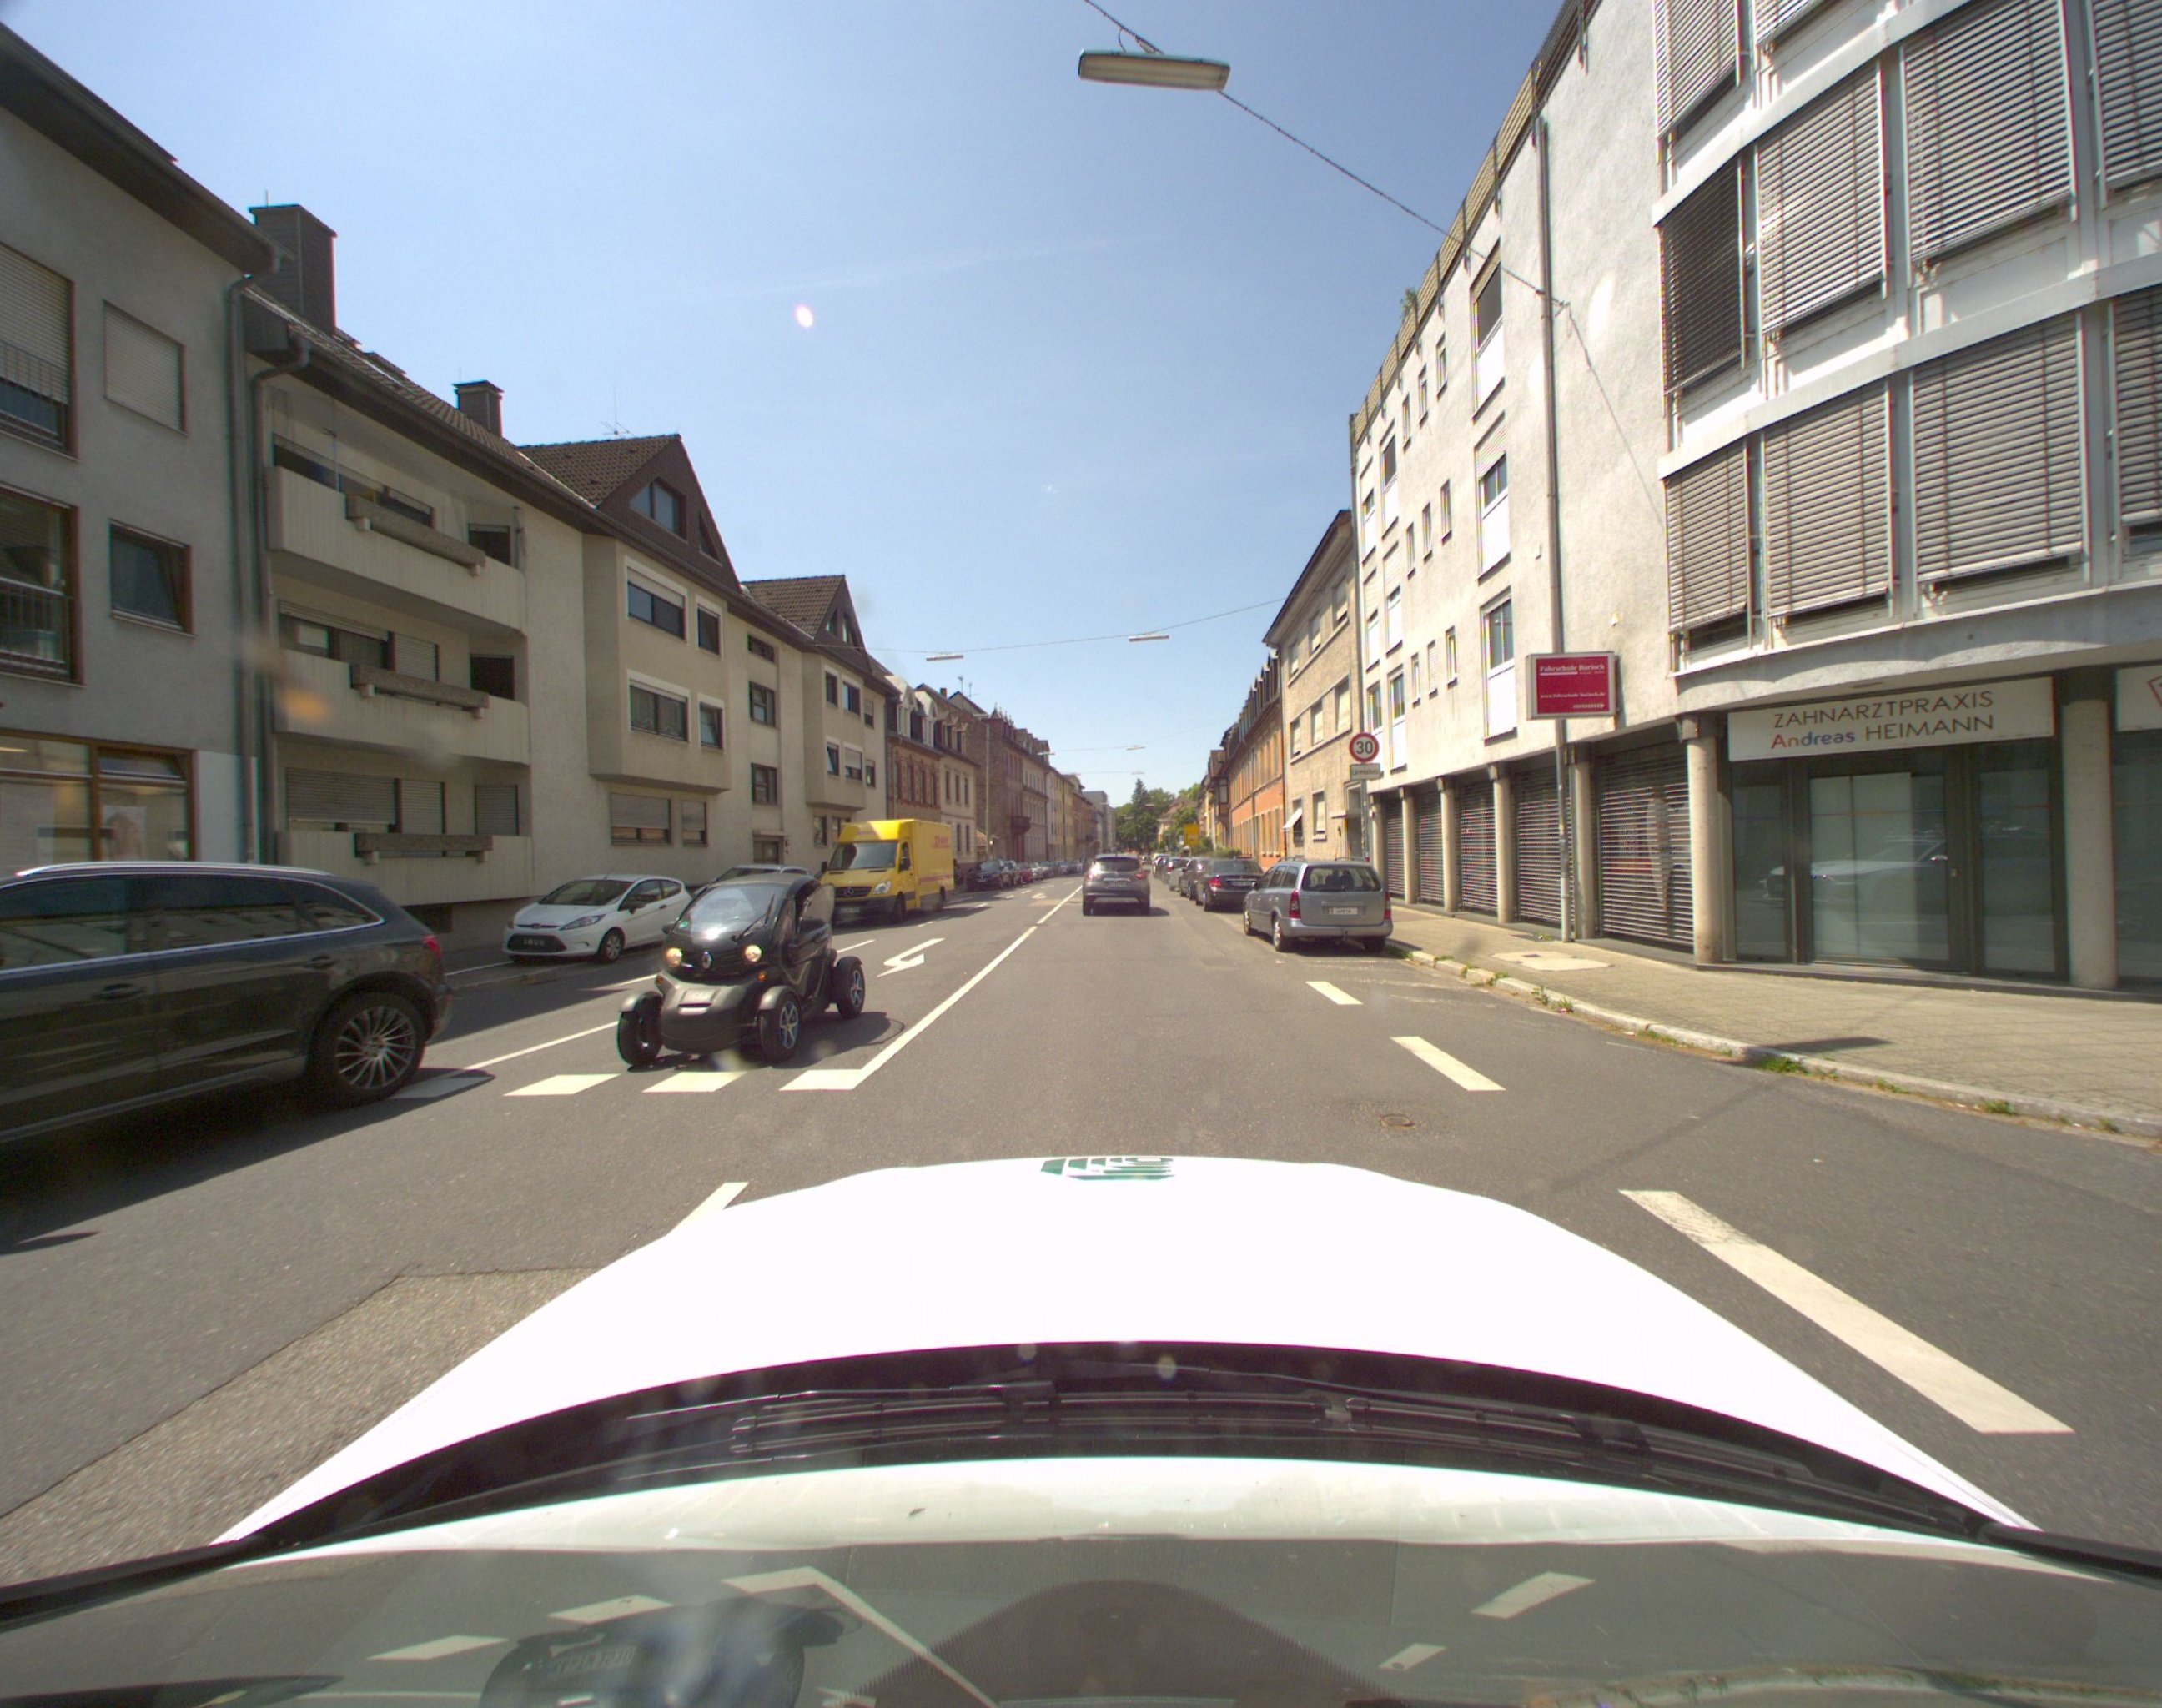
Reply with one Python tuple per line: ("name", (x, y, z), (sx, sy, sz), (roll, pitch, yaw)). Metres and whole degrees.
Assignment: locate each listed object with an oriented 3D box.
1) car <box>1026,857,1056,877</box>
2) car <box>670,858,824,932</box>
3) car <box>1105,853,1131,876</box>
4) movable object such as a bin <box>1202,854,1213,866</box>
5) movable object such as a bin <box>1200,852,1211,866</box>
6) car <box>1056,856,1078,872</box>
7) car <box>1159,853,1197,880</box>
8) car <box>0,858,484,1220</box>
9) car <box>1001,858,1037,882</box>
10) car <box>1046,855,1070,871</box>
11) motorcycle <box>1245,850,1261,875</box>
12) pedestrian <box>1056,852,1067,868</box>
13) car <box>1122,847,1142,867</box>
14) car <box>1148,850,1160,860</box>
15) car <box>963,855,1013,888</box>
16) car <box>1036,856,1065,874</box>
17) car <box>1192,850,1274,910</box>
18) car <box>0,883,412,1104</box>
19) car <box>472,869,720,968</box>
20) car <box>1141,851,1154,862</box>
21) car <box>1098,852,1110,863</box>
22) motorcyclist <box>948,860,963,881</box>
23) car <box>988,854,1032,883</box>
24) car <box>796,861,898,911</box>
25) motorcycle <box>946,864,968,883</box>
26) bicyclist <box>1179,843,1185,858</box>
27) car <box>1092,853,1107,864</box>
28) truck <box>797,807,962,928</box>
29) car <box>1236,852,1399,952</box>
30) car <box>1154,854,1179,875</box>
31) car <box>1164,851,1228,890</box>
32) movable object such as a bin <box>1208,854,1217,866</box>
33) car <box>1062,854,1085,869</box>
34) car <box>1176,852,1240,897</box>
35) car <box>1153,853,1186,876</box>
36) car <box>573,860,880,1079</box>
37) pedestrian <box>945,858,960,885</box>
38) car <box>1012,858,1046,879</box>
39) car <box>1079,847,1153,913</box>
("car", (-3.260, 1.042, 67.207), (1.832, 1.422, 4.506), (-6, -1, 3))
("car", (-8.092, 0.920, 20.234), (1.832, 1.596, 4.389), (1, 0, 2))
("car", (2.848, 0.751, 62.695), (1.804, 1.620, 4.446), (-3, 0, 4))
("movable object such as a bin", (10.522, 0.510, 67.661), (0.785, 0.907, 0.539), (-2, 0, 2))
("movable object such as a bin", (10.581, 0.422, 69.337), (0.785, 1.088, 0.554), (-2, 0, 2))
("car", (-1.451, 1.019, 84.202), (1.832, 1.422, 4.650), (-4, -1, 3))
("car", (5.258, 0.674, 44.577), (1.694, 1.380, 4.169), (-1, 0, 2))
("car", (-5.742, 0.879, 4.114), (1.803, 1.620, 4.449), (-3, -1, 6))
("car", (-4.135, 1.041, 55.065), (1.833, 1.422, 4.504), (-4, 0, 1))
("car", (-2.179, 0.871, 78.299), (1.832, 1.422, 4.506), (-4, -1, 3))
("motorcycle", (8.658, 0.401, 41.035), (0.593, 1.225, 1.363), (-2, 0, 4))
("pedestrian", (-2.197, 0.678, 91.840), (1.145, 1.750, 0.971), (-2, 0, 6))
("car", (5.535, 0.327, 87.604), (1.984, 2.013, 4.472), (-2, 0, 5))
("car", (12.037, 0.129, 133.922), (1.754, 1.560, 3.950), (-2, 0, 7))
("car", (-4.990, 0.914, 44.297), (1.831, 1.597, 4.507), (-4, -1, 4))
("car", (-2.720, 0.973, 73.061), (1.830, 1.422, 4.510), (-5, -1, 6))
("car", (4.195, 0.663, 23.101), (1.704, 1.473, 4.442), (-2, 0, 3))
("car", (-8.805, 1.089, 7.330), (1.833, 1.489, 4.388), (1, 0, 1))
("car", (-8.677, 1.060, 15.132), (1.832, 1.489, 4.389), (1, 0, 2))
("car", (10.516, 0.359, 128.575), (1.754, 1.560, 3.950), (-2, 0, 7))
("car", (3.881, 0.589, 134.925), (1.897, 1.619, 4.304), (-4, 0, 2))
("motorcyclist", (-7.603, 0.981, 49.447), (0.715, 1.248, 0.713), (-2, 0, 3))
("car", (-4.327, 0.867, 50.299), (1.831, 1.596, 4.507), (-5, -1, 4))
("car", (-7.547, 0.982, 26.775), (1.832, 1.488, 4.390), (1, 0, 3))
("motorcycle", (-7.600, 1.204, 49.964), (0.841, 1.078, 1.874), (-2, 0, 5))
("bicyclist", (10.128, -0.324, 81.677), (0.530, 1.469, 0.792), (-2, 0, 6))
("car", (2.756, 0.650, 123.275), (1.896, 1.619, 4.308), (-4, 0, 5))
("truck", (-5.376, 0.312, 23.267), (2.215, 2.771, 7.572), (-3, 0, 4))
("car", (3.868, 0.704, 14.037), (1.672, 1.454, 4.143), (0, 0, 1))
("car", (6.115, 0.718, 58.594), (1.708, 1.414, 4.596), (-2, 0, 5))
("car", (4.736, 0.661, 34.118), (1.849, 1.463, 4.545), (-1, 0, -3))
("movable object such as a bin", (11.885, 0.579, 73.600), (0.655, 1.055, 0.750), (-2, 0, 6))
("car", (-0.788, 0.818, 89.960), (1.830, 1.422, 4.566), (-5, -1, 6))
("car", (4.449, 0.681, 29.002), (1.646, 1.420, 4.048), (-2, 0, 0))
("car", (5.749, 0.661, 53.269), (1.643, 1.414, 4.500), (-1, 0, -1))
("car", (-2.802, 0.809, 7.042), (1.493, 1.459, 2.720), (-2, 0, -2))
("pedestrian", (-7.232, 0.979, 45.873), (0.605, 1.495, 0.972), (0, 0, 5))
("car", (-3.859, 1.043, 61.362), (1.831, 1.422, 4.507), (-4, -1, 4))
("car", (0.870, 0.645, 22.329), (1.739, 1.616, 3.998), (-1, 0, -1))
